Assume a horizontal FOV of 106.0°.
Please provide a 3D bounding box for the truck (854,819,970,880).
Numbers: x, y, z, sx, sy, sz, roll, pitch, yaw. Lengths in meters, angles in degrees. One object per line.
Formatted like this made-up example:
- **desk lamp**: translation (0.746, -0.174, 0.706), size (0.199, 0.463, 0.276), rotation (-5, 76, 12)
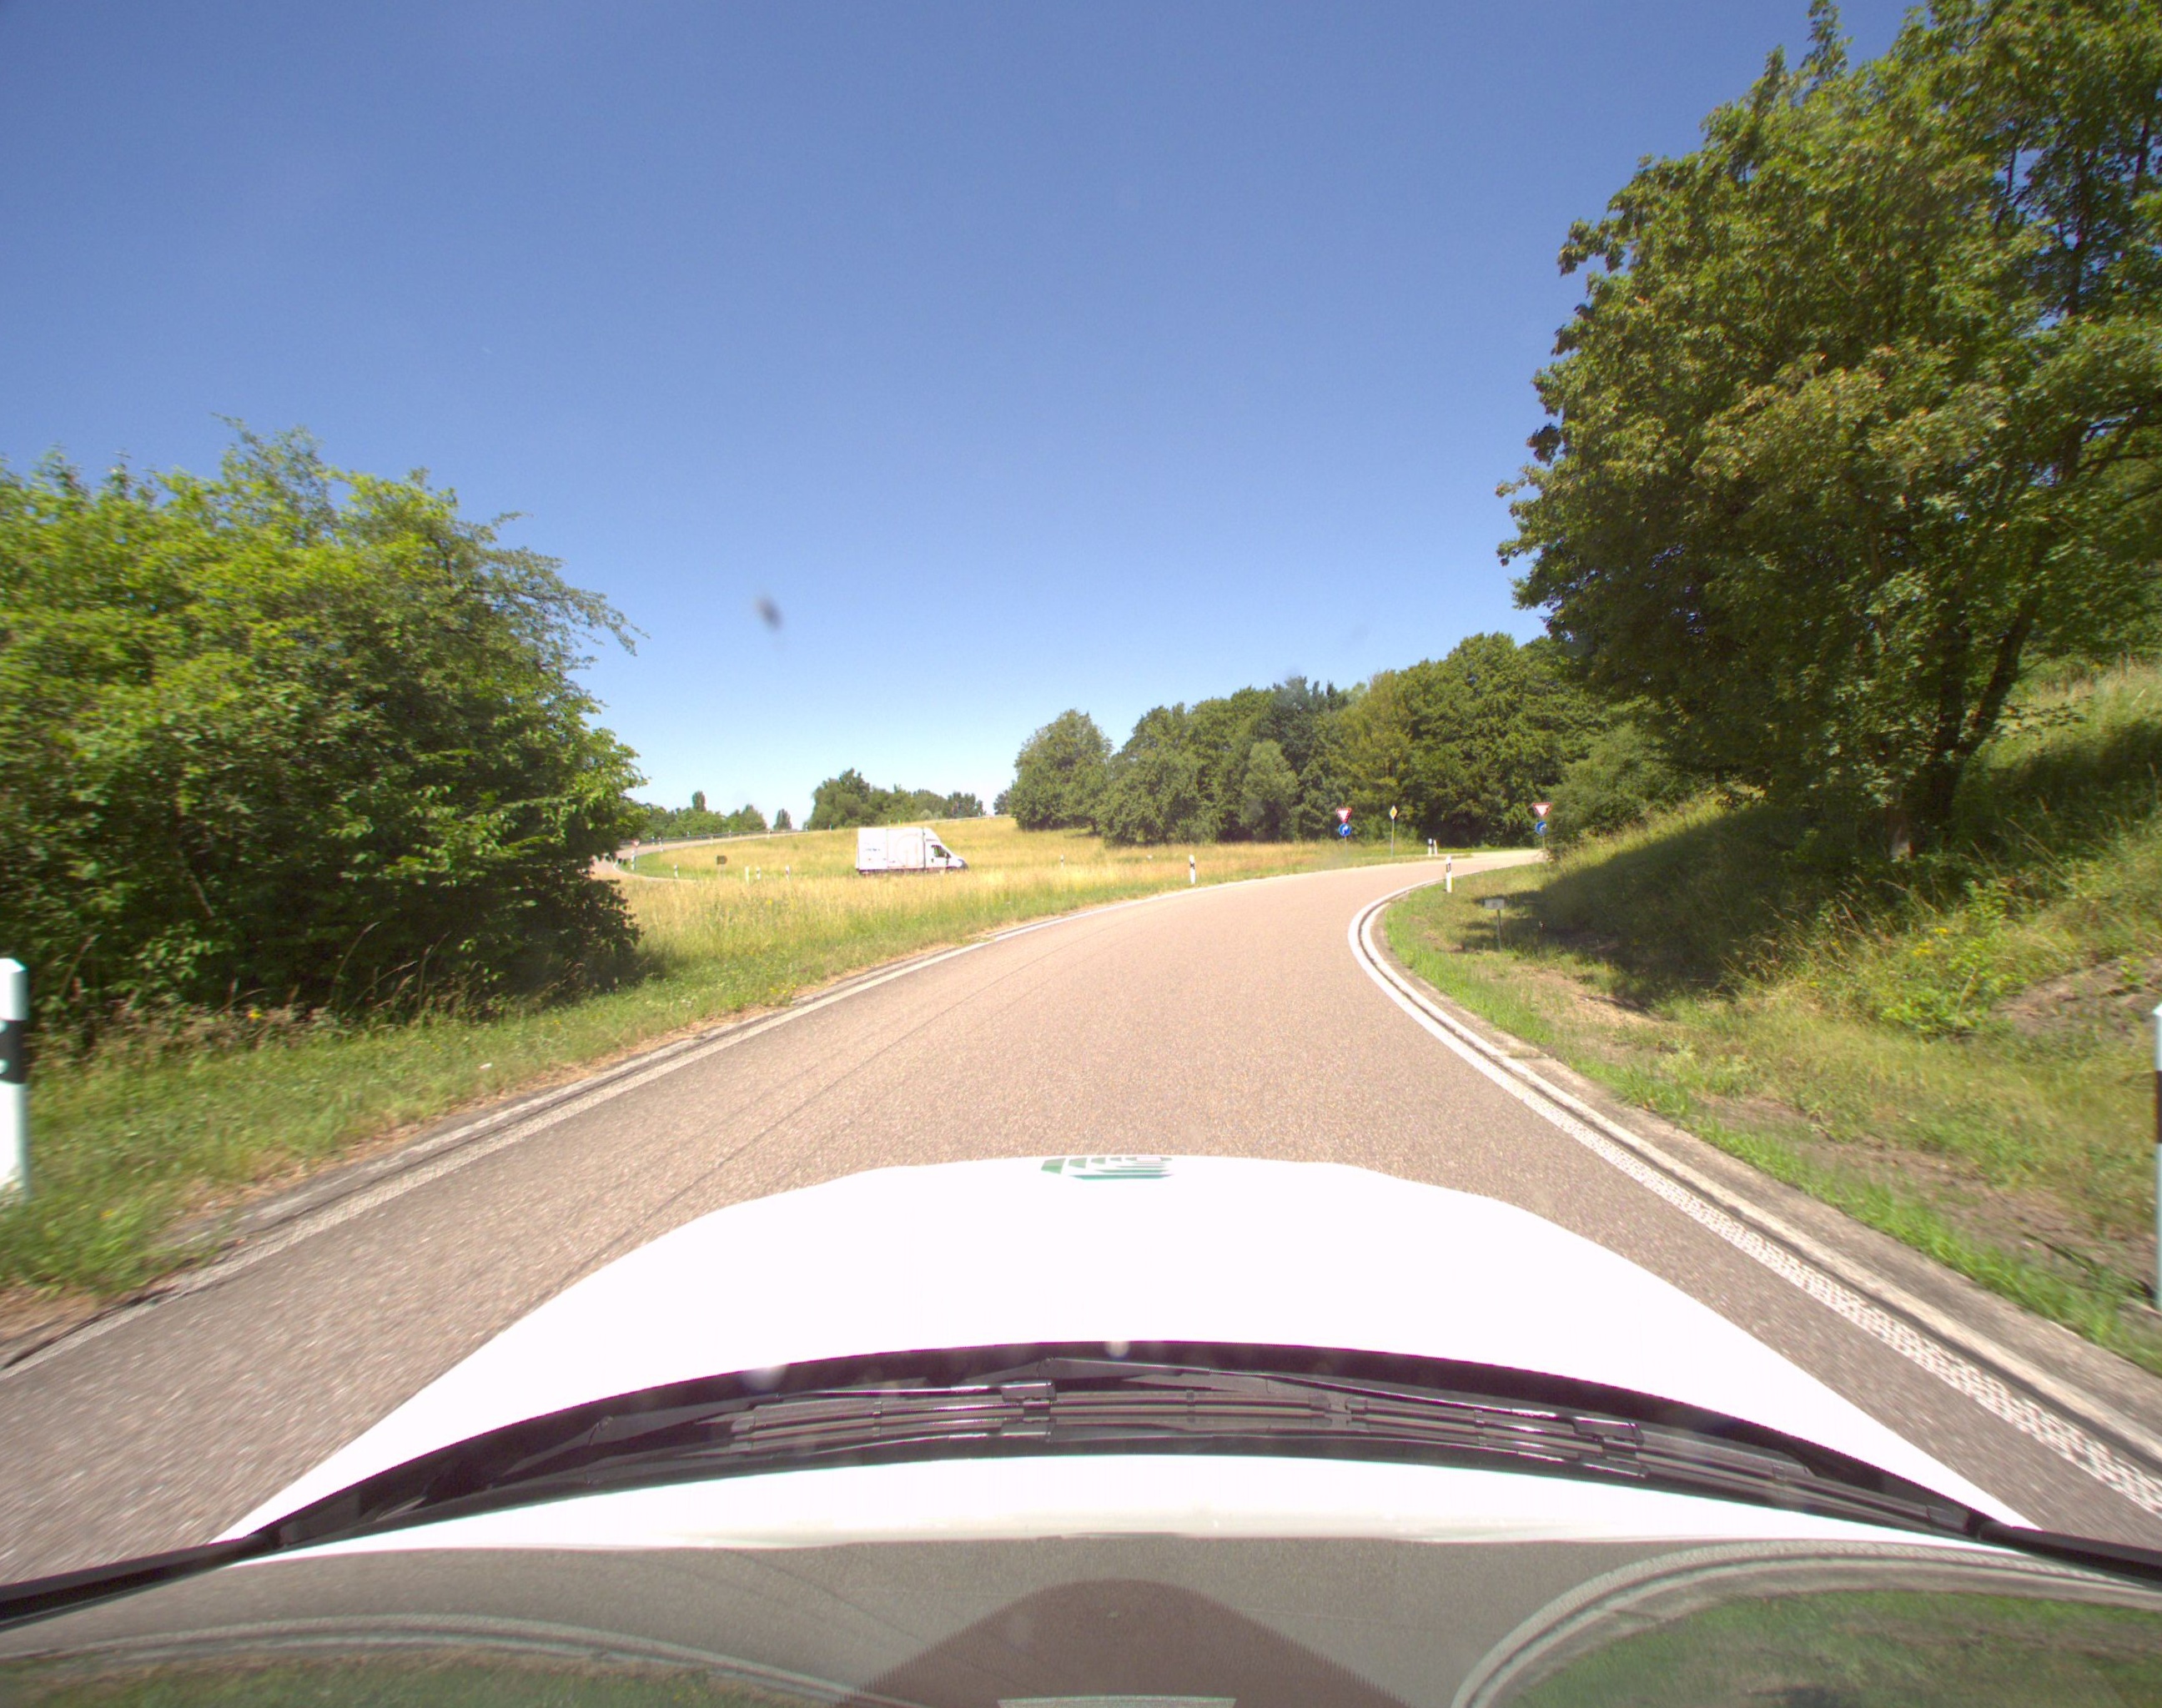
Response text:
- **truck**: translation (-9.154, -0.274, 43.963), size (5.888, 2.984, 2.236), rotation (-2, 0, -16)
